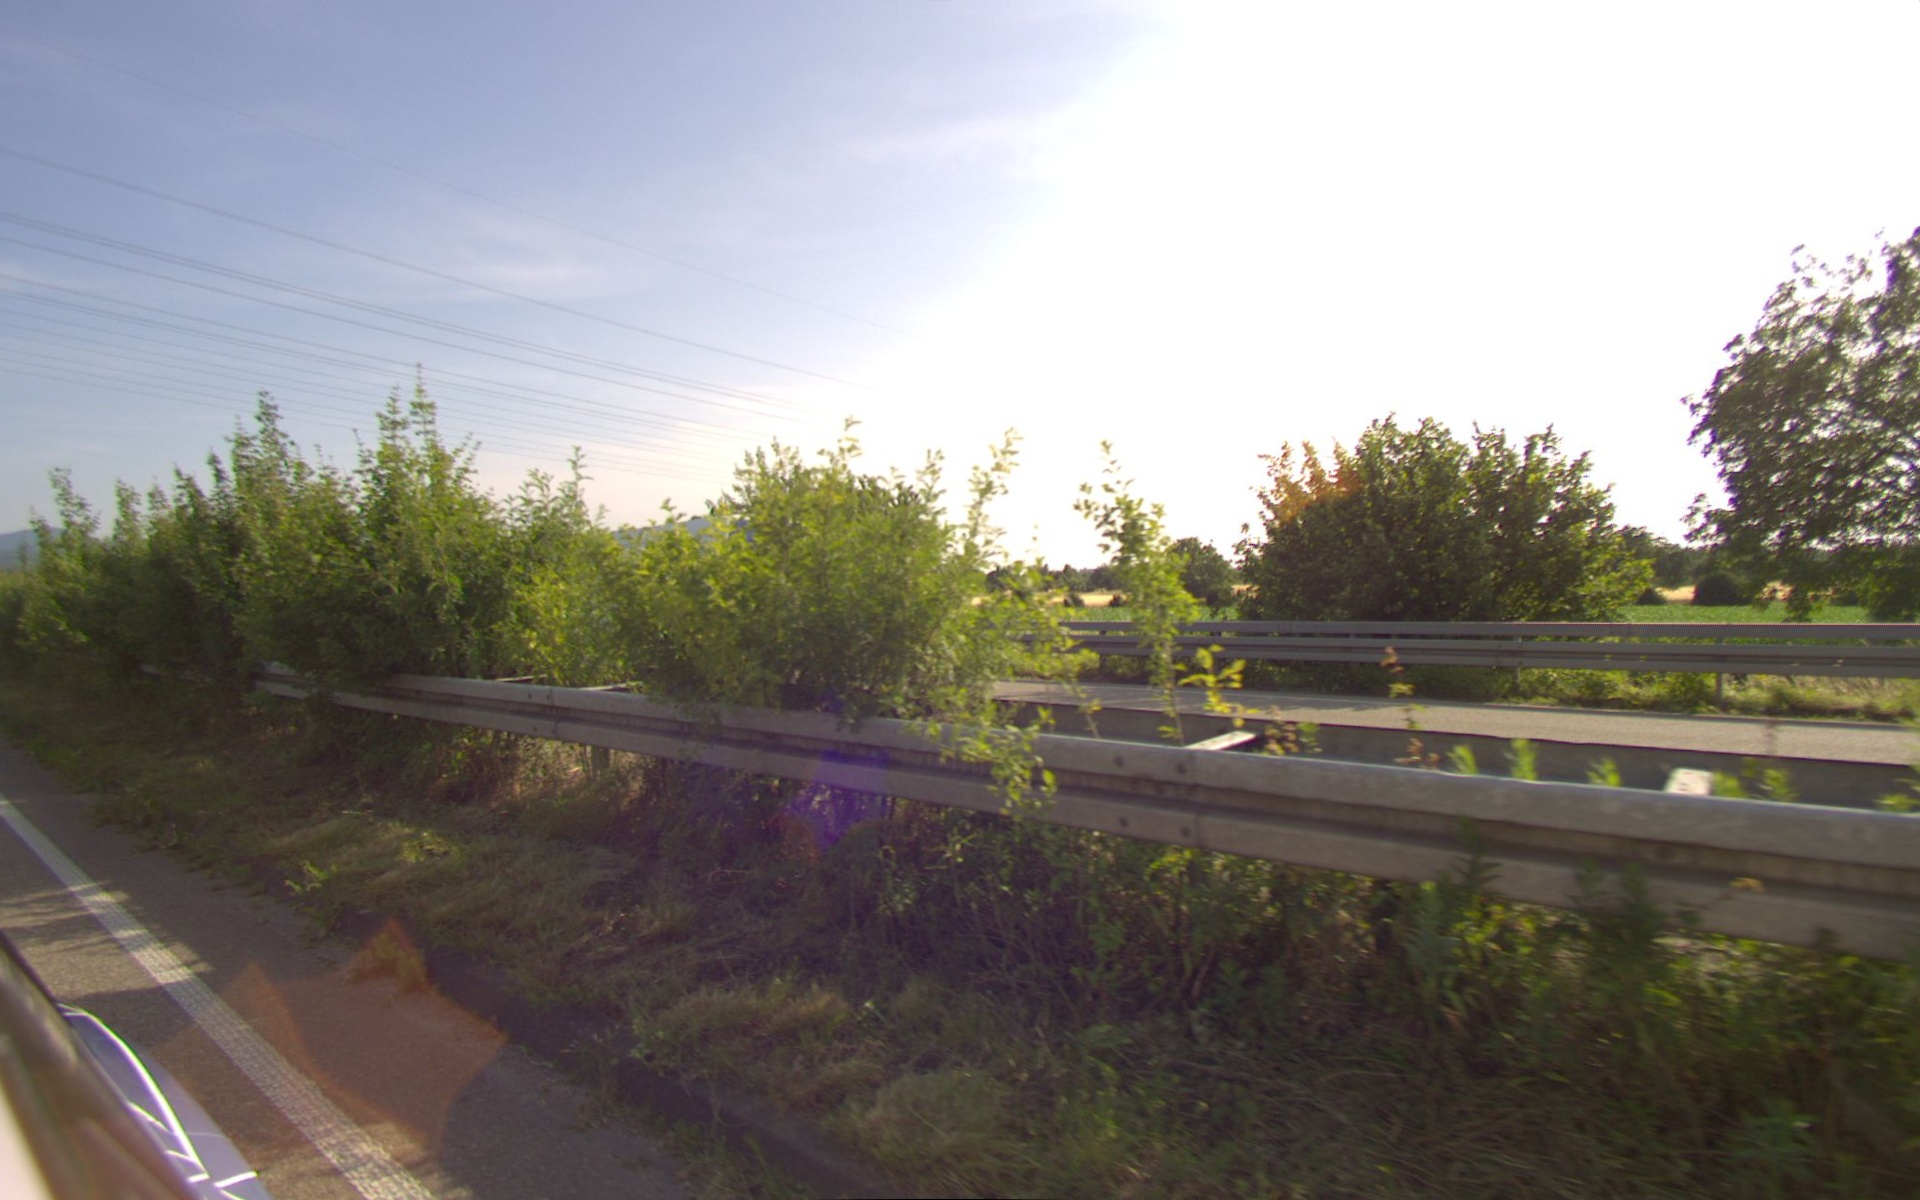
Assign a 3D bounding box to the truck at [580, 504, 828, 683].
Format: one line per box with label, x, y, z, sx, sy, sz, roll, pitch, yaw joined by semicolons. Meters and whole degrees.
truck;-4.867;-0.076;18.738;5.044;2.877;1.995;-1;-1;43
